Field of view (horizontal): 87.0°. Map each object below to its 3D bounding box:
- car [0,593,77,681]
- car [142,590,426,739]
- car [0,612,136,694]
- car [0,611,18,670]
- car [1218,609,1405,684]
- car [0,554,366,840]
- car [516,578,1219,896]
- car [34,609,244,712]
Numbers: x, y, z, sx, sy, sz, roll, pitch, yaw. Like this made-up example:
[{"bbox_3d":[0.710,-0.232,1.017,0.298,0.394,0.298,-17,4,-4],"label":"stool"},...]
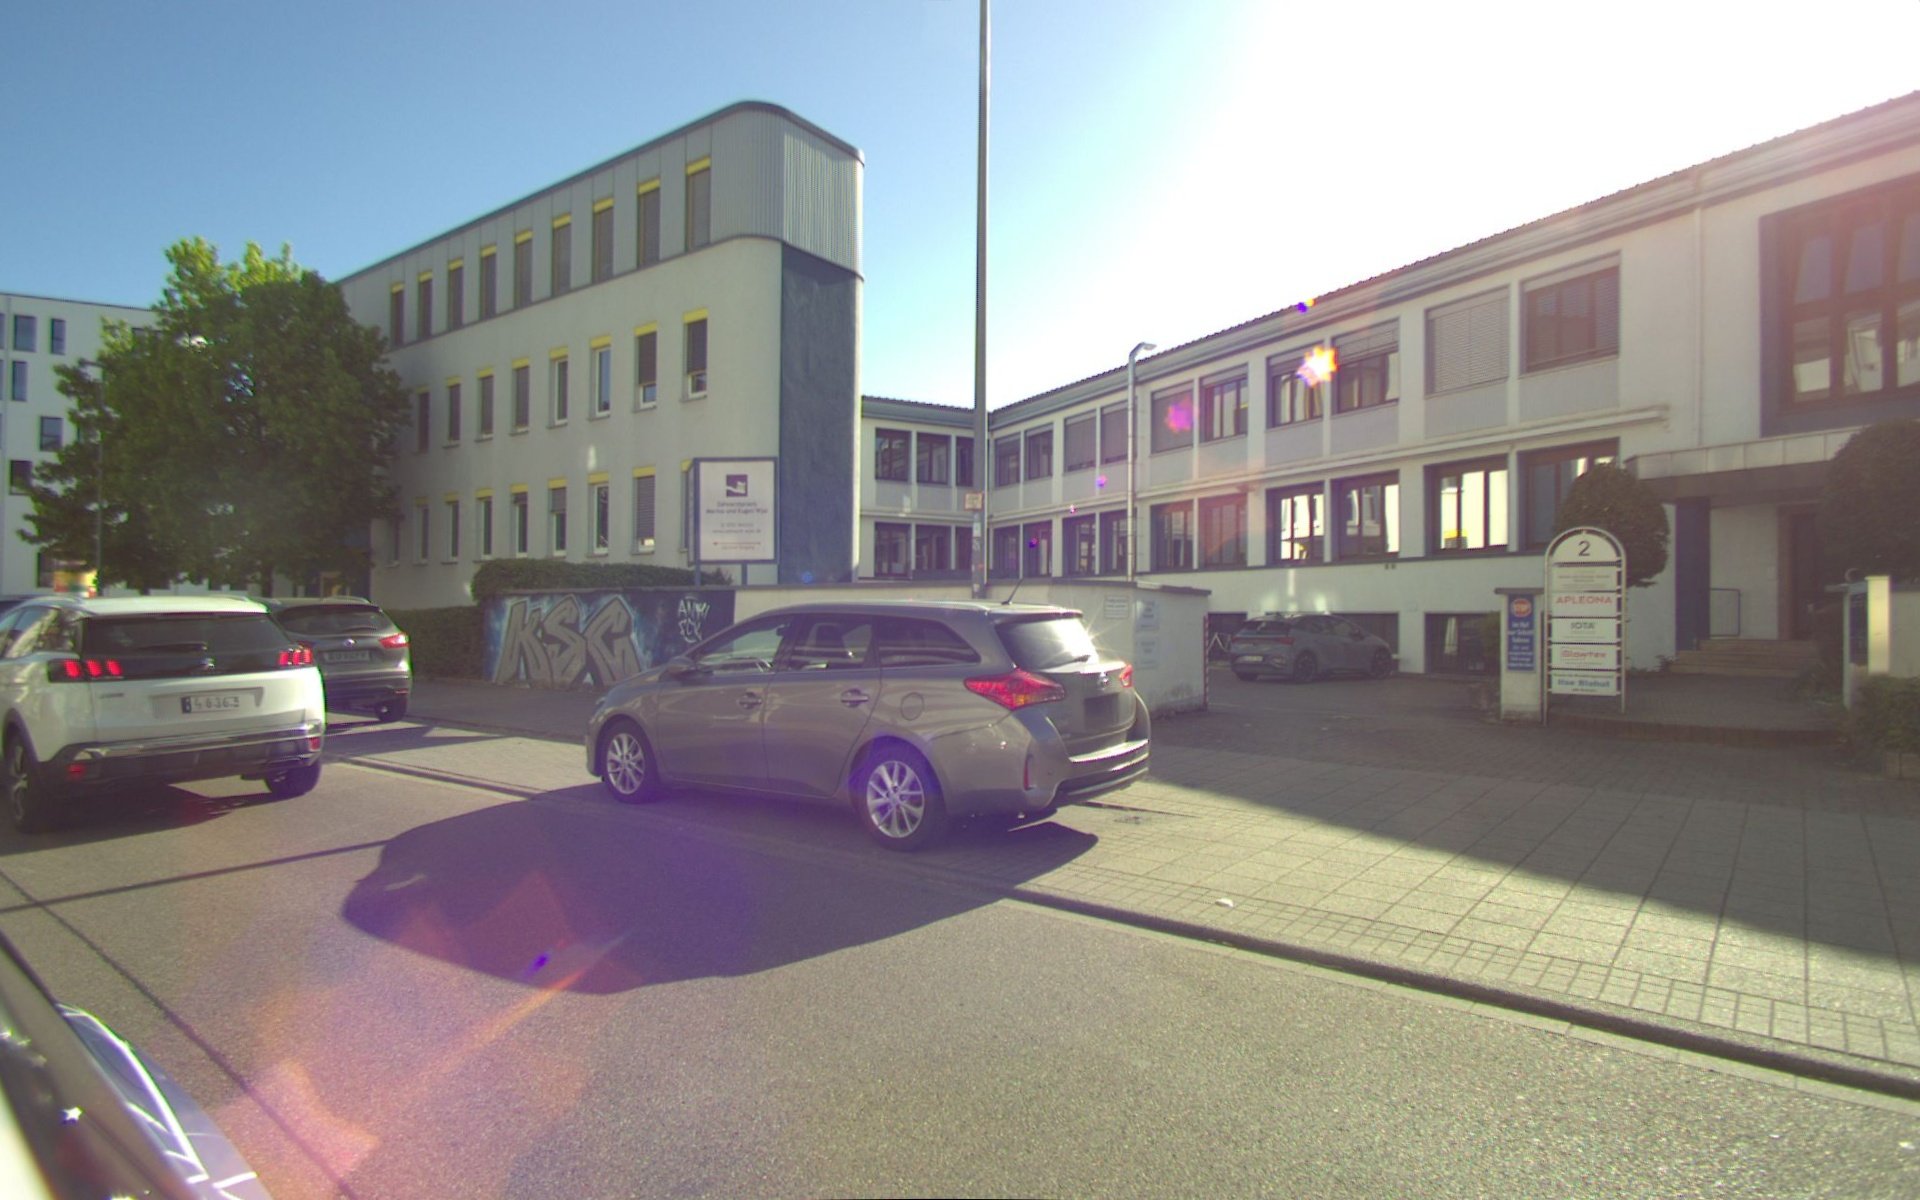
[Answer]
[{"bbox_3d":[-21.607,0.803,22.701,4.330,1.853,1.673,-1,-1,34],"label":"car"},{"bbox_3d":[-8.718,0.724,12.913,4.414,1.598,1.703,-1,-1,38],"label":"car"},{"bbox_3d":[-17.825,0.959,19.791,3.990,1.451,1.585,0,-1,34],"label":"car"},{"bbox_3d":[-25.443,0.991,25.554,4.605,1.450,1.716,0,-1,38],"label":"car"},{"bbox_3d":[8.082,1.007,23.132,4.265,1.552,1.930,1,-2,-36],"label":"car"},{"bbox_3d":[-6.873,0.627,8.182,4.325,1.737,1.903,-1,-1,34],"label":"car"},{"bbox_3d":[-0.879,0.712,7.193,4.907,1.546,1.976,-1,-1,36],"label":"car"},{"bbox_3d":[-13.489,0.894,16.543,4.432,1.476,1.710,-1,-1,38],"label":"car"}]
